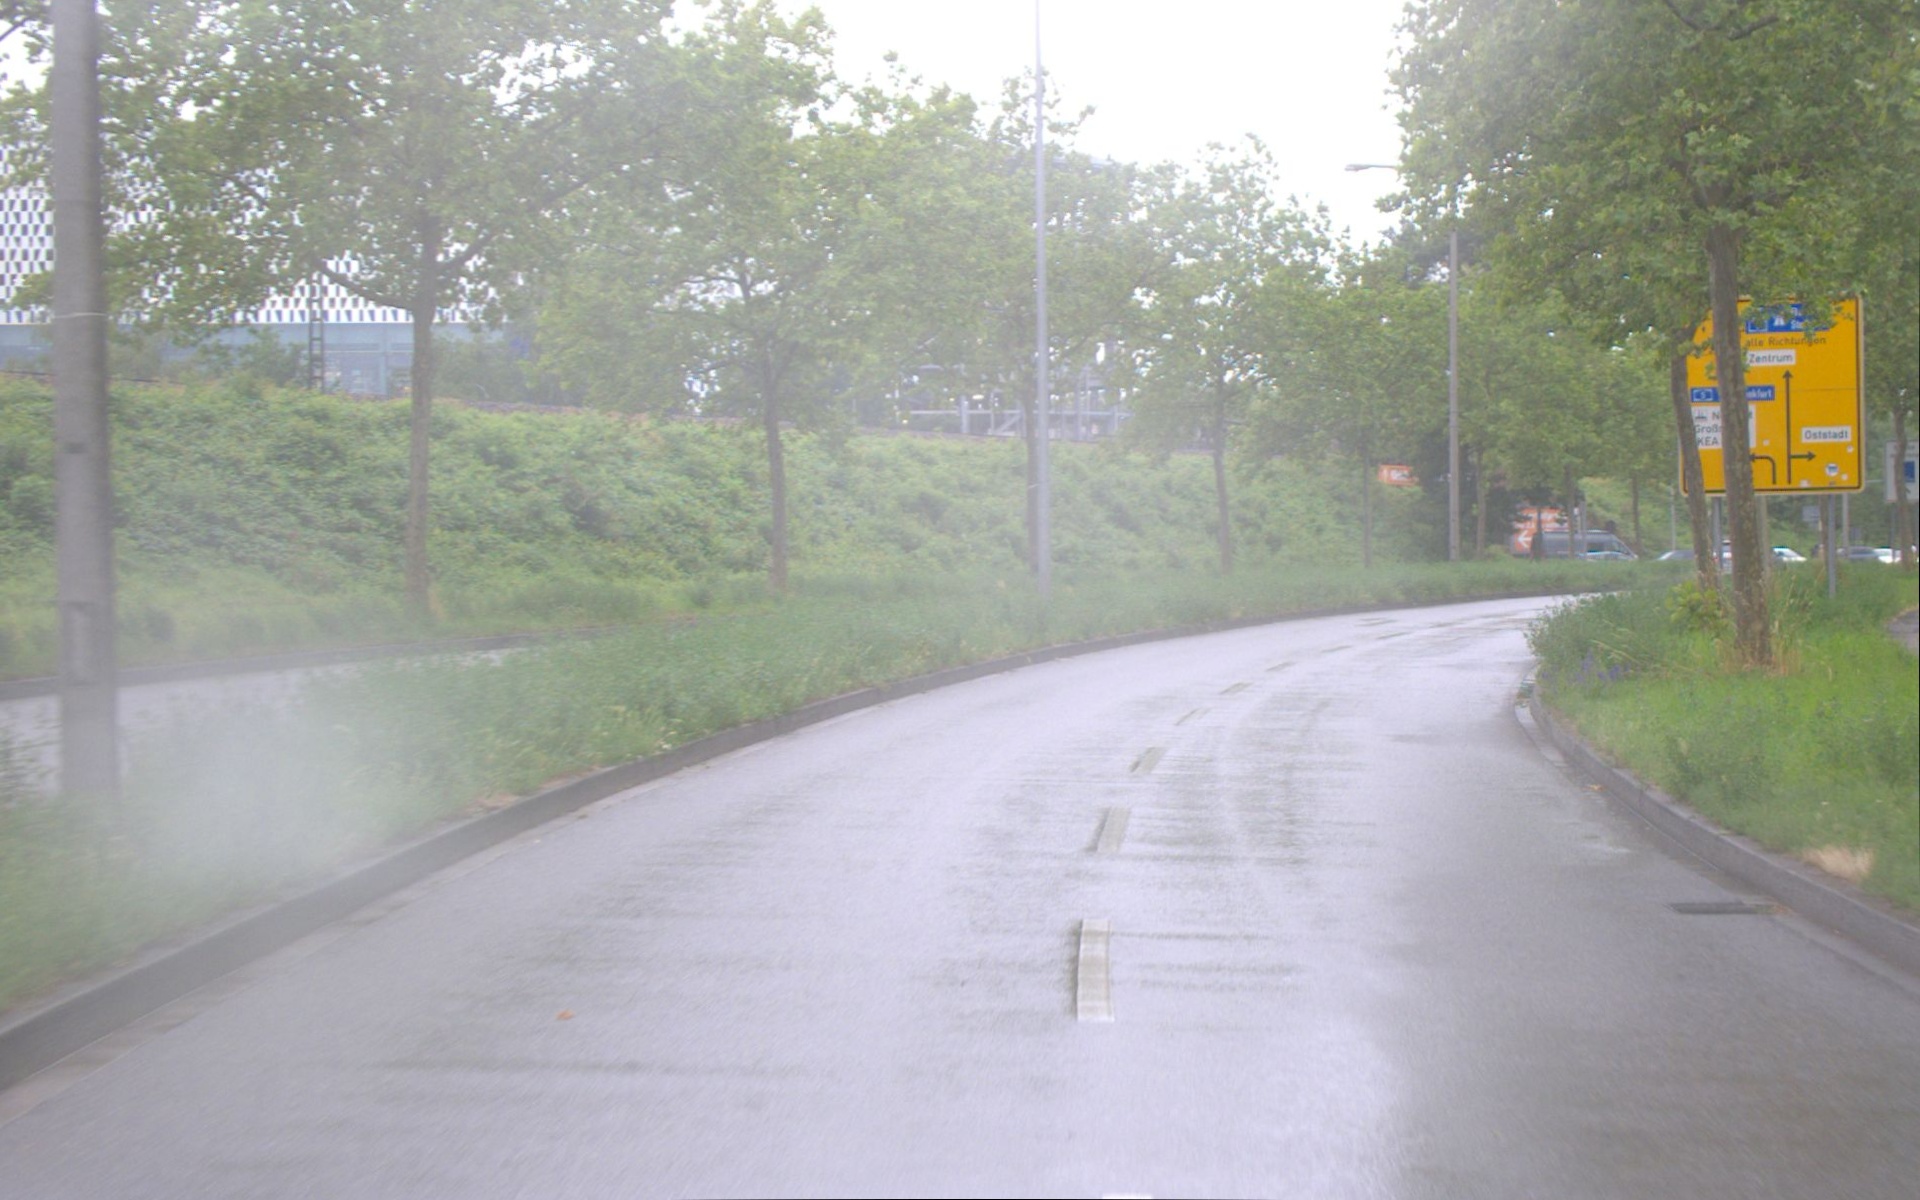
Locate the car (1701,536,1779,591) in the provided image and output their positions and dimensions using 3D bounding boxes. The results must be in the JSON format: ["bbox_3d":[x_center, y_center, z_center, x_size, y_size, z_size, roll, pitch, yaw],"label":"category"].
[{"bbox_3d":[23.163,-1.101,102.045,1.781,1.550,3.996,2,1,19],"label":"car"}]
